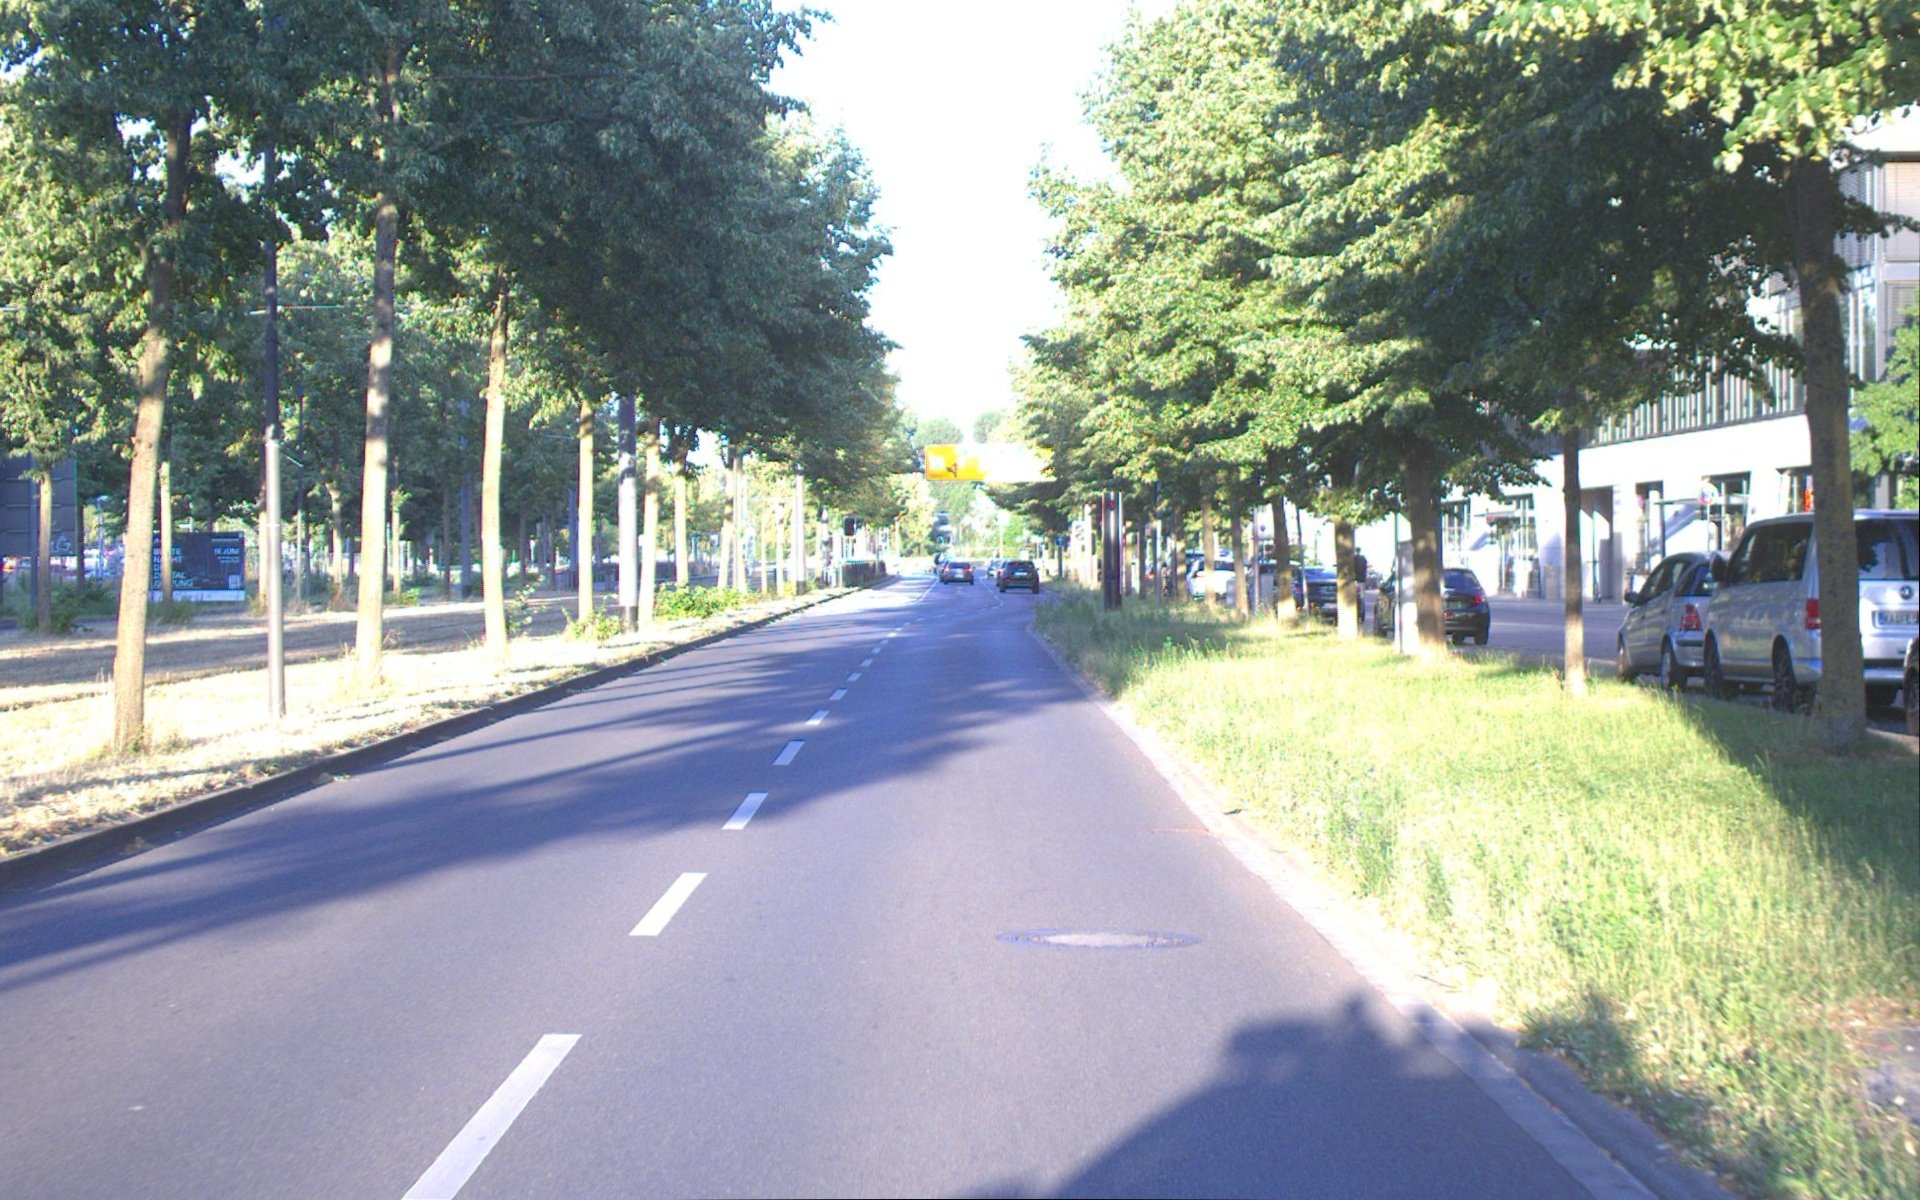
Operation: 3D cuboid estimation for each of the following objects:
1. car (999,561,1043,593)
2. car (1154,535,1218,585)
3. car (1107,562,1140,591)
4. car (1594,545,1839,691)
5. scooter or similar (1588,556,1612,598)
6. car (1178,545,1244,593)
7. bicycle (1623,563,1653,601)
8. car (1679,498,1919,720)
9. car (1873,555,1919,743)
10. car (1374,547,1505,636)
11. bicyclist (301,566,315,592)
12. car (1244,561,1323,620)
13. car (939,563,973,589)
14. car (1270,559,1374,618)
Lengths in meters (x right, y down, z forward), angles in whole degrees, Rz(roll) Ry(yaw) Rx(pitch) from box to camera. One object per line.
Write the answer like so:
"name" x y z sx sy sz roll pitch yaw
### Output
"car" 2.793 -1.079 159.005 1.911 1.481 4.000 0 1 -1
"car" 8.576 -1.521 130.778 1.993 1.845 4.666 0 1 -2
"car" 8.394 -1.201 176.834 1.575 1.467 3.881 0 0 1
"car" 8.602 0.167 39.408 1.838 1.565 4.061 1 1 -1
"scooter or similar" 18.607 -0.660 99.949 0.472 1.207 1.229 0 1 1
"car" 8.634 -1.072 118.567 1.993 1.637 4.878 0 1 1
"bicycle" 18.581 -0.501 94.181 0.454 1.024 1.392 0 1 26
"car" 8.539 0.052 33.431 1.986 1.982 4.932 1 1 -1
"car" 8.587 0.419 26.691 1.859 1.491 4.290 1 1 0
"car" 8.768 -0.185 63.148 1.780 1.489 4.000 3 1 0
"bicyclist" -35.771 -1.143 188.531 0.619 1.451 0.937 0 0 -2
"car" 8.815 -0.272 93.953 1.709 1.510 3.759 2 1 -1
"car" -0.244 -1.411 201.767 1.911 1.481 4.000 0 1 -1
"car" 8.777 -0.292 83.622 1.852 1.362 4.835 -1 1 -2
